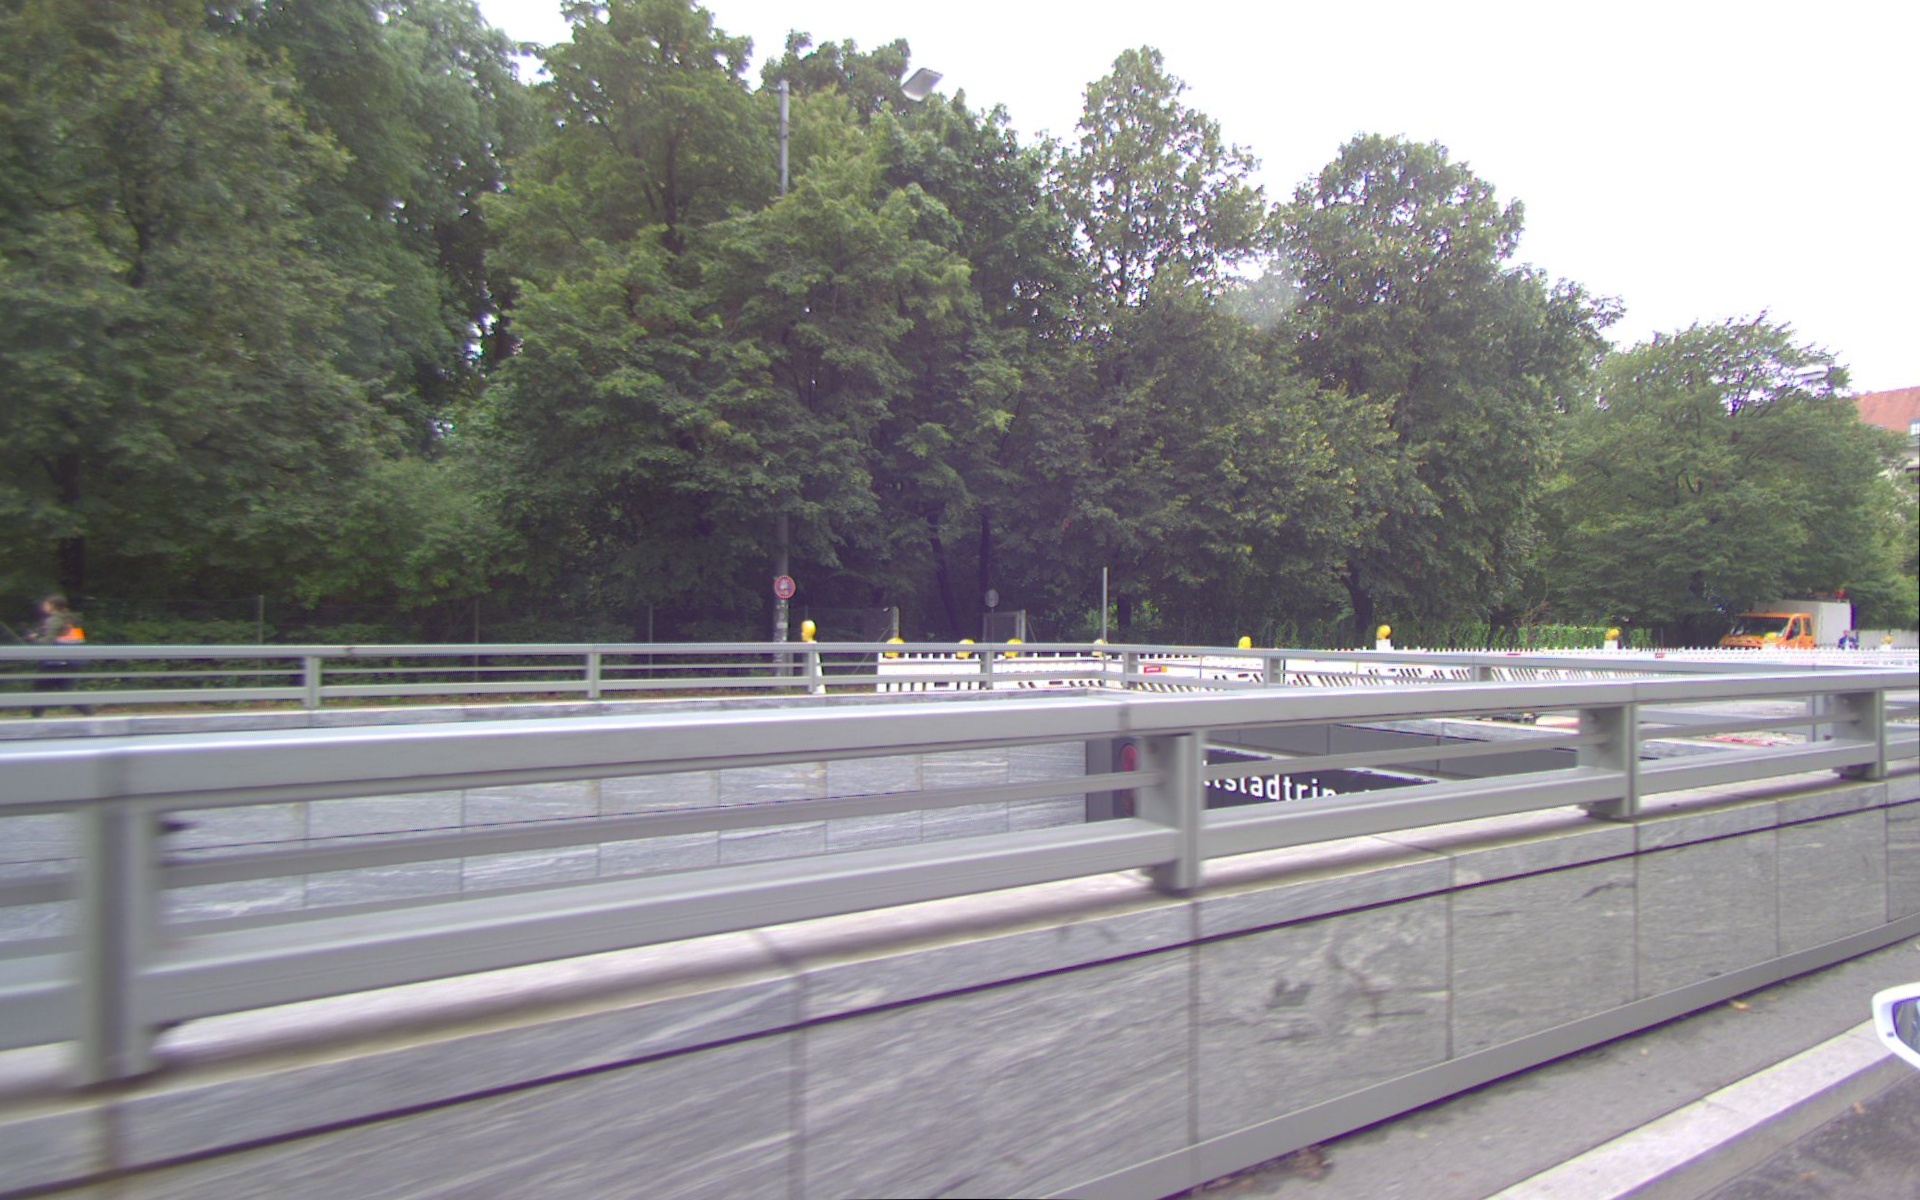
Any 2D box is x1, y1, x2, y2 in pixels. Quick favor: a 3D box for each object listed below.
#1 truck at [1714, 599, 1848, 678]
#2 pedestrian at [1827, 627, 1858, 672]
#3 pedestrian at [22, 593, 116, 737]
[{"bbox_3d":[30.778,1.431,37.604,5.800,2.764,1.984,1,-1,-30],"label":"truck"},{"bbox_3d":[32.309,1.794,36.761,0.690,1.624,0.660,1,-1,-29],"label":"pedestrian"},{"bbox_3d":[-10.681,0.760,12.067,0.690,1.663,0.660,1,-1,-29],"label":"pedestrian"}]
